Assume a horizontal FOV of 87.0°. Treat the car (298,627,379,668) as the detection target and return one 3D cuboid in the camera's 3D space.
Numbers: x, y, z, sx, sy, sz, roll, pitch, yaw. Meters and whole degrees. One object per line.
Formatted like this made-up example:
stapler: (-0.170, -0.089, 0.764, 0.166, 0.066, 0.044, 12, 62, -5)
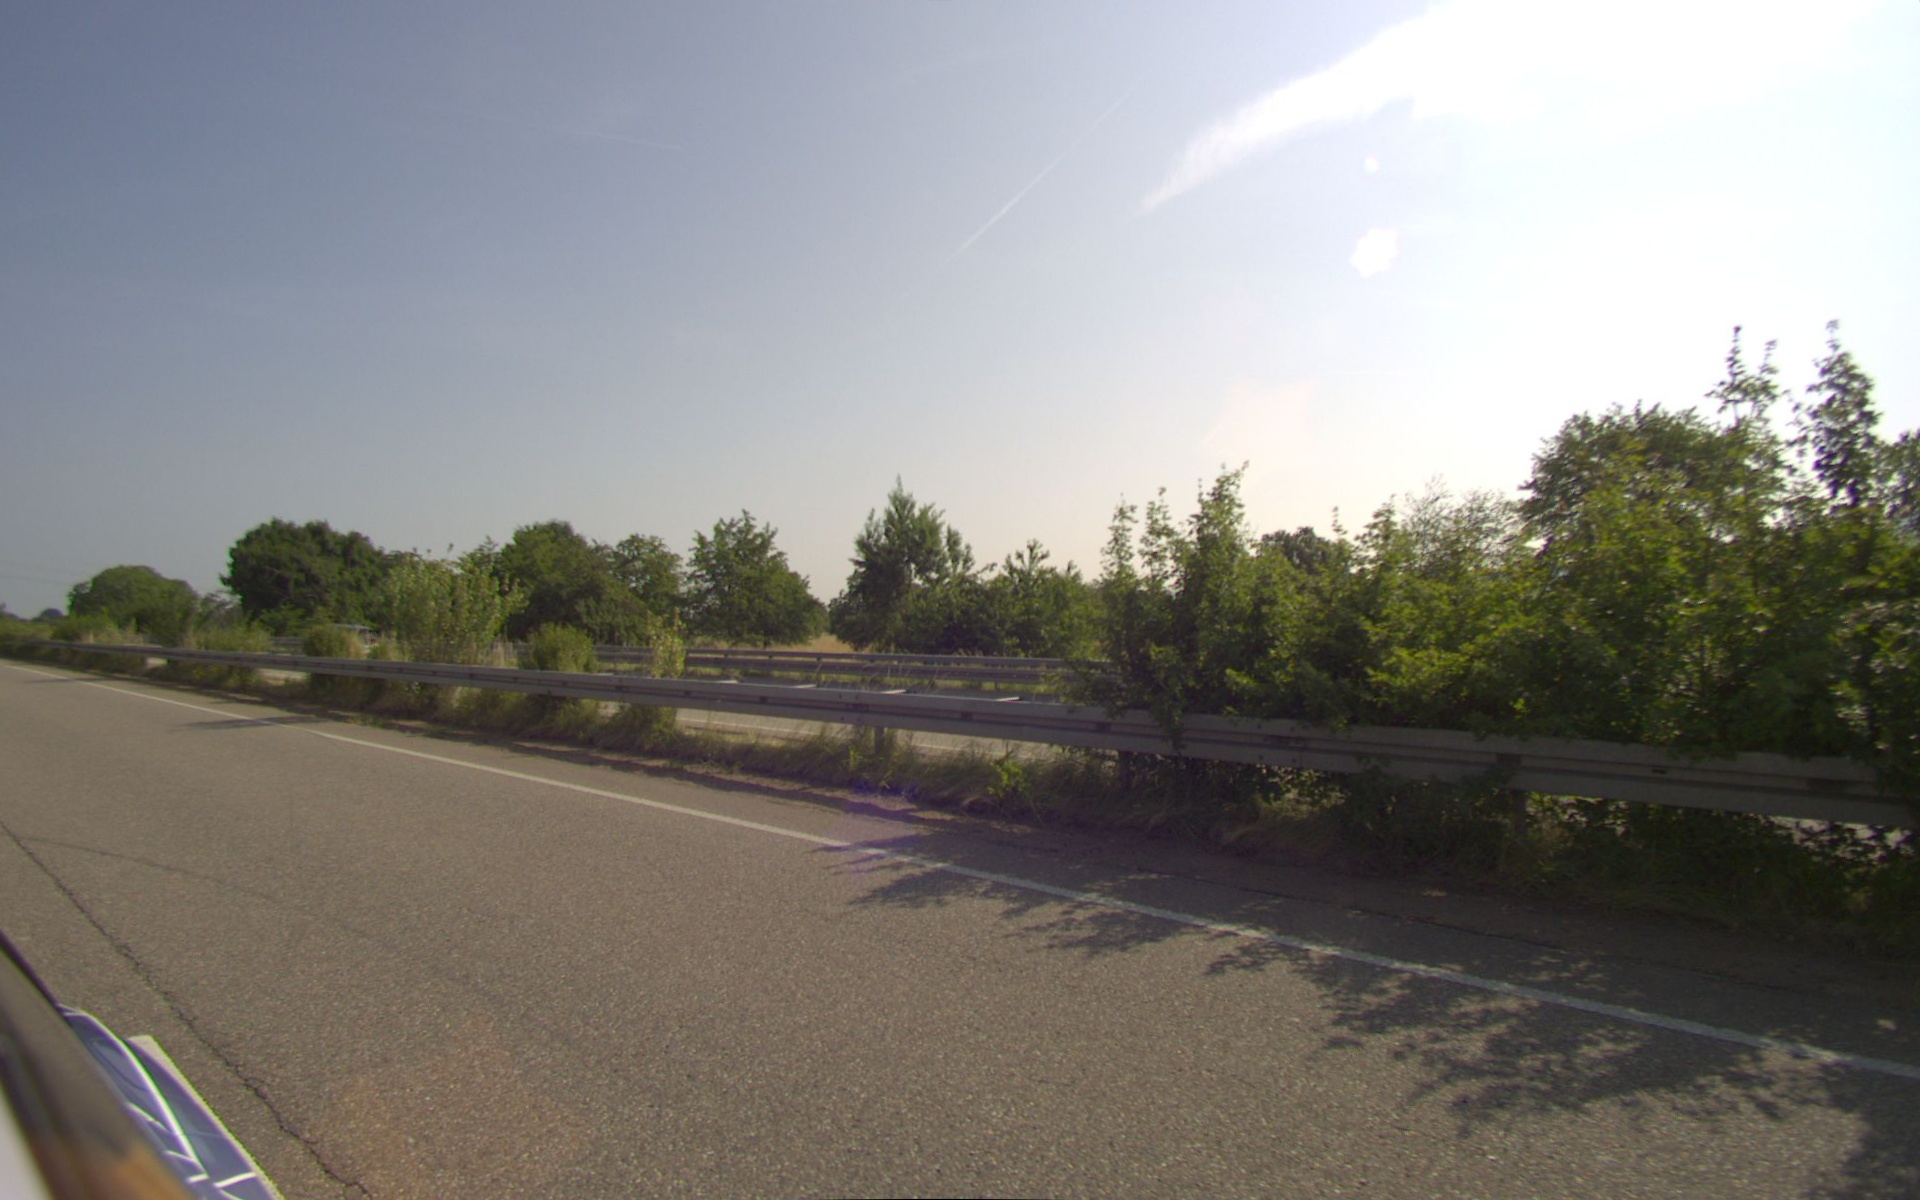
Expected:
car: (-25.350, 1.899, 41.236, 4.186, 1.538, 1.675, -1, -1, 41)
